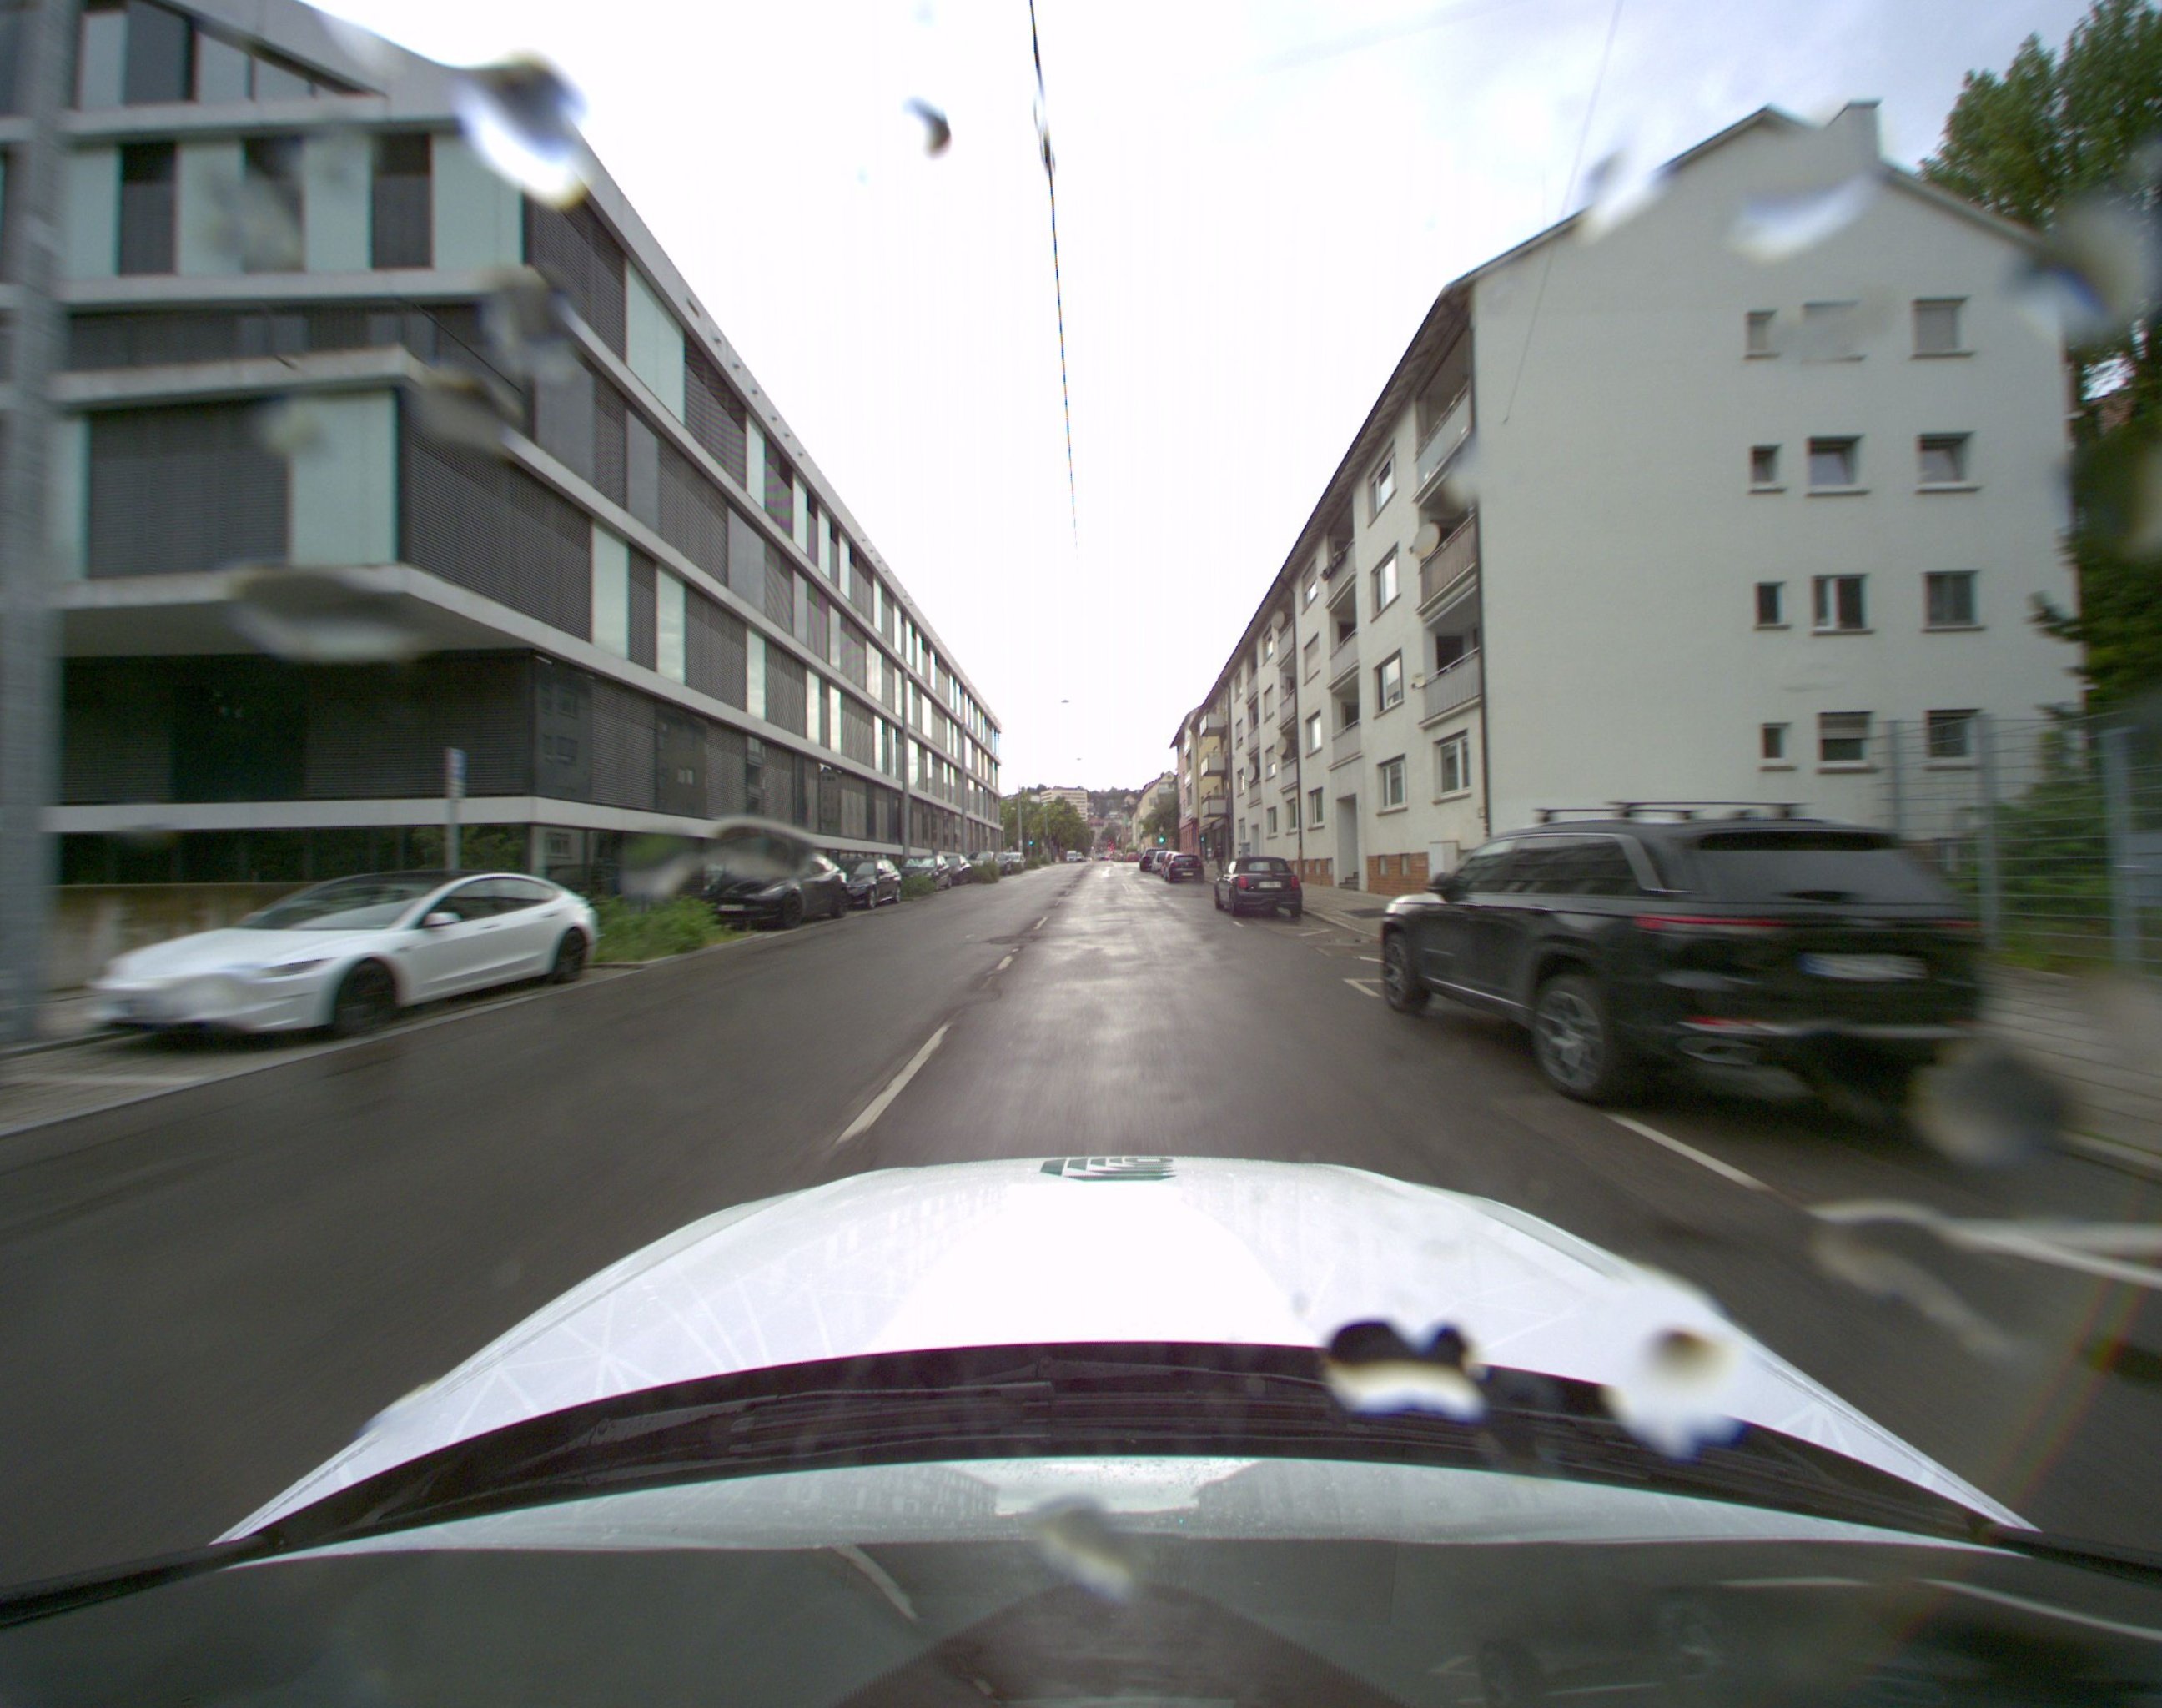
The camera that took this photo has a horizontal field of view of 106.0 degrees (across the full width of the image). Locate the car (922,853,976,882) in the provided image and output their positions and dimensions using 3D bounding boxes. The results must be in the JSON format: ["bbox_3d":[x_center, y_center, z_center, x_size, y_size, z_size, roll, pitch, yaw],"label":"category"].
[{"bbox_3d":[-6.472,0.648,40.439,1.830,1.396,4.394,0,0,2],"label":"car"}]

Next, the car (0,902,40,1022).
[{"bbox_3d":[-22.251,2.005,14.499,4.582,2.174,1.928,0,-1,-5],"label":"car"}]

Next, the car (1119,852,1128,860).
[{"bbox_3d":[8.751,0.452,167.802,1.858,1.604,4.194,0,-1,4],"label":"car"}]

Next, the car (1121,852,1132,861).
[{"bbox_3d":[8.308,0.534,148.438,1.858,1.604,4.194,0,-1,4],"label":"car"}]

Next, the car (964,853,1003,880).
[{"bbox_3d":[-5.959,0.727,50.037,1.765,1.534,4.318,0,0,1],"label":"car"}]

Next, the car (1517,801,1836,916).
[{"bbox_3d":[10.804,0.091,15.042,4.423,1.712,1.905,-4,-1,0],"label":"car"}]

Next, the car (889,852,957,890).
[{"bbox_3d":[-6.513,0.678,34.090,1.856,1.489,4.348,0,0,2],"label":"car"}]

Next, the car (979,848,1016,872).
[{"bbox_3d":[-5.705,0.422,56.122,1.793,1.604,4.239,0,-1,4],"label":"car"}]

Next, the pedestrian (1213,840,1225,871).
[{"bbox_3d":[8.390,0.095,49.471,0.636,1.870,0.539,0,-1,3],"label":"pedestrian"}]

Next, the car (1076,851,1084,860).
[{"bbox_3d":[-0.283,0.455,207.768,1.862,2.141,4.355,0,-1,-2],"label":"car"}]

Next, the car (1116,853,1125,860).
[{"bbox_3d":[8.884,0.524,183.166,1.858,1.604,4.194,0,-1,4],"label":"car"}]

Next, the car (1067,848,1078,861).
[{"bbox_3d":[-1.744,0.124,168.916,2.099,2.546,4.749,0,-1,-1],"label":"car"}]

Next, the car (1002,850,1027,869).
[{"bbox_3d":[-5.490,0.441,67.365,1.588,1.459,3.722,0,0,3],"label":"car"}]

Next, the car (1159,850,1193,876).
[{"bbox_3d":[5.362,0.491,46.216,1.577,1.413,3.655,0,0,1],"label":"car"}]

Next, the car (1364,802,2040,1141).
[{"bbox_3d":[4.038,0.618,6.611,1.928,1.750,4.798,0,0,1],"label":"car"}]

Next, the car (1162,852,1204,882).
[{"bbox_3d":[5.063,0.634,40.909,1.700,1.454,3.985,0,0,1],"label":"car"}]

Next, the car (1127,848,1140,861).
[{"bbox_3d":[7.307,0.109,113.104,1.858,1.770,4.194,0,-1,4],"label":"car"}]

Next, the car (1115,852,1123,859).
[{"bbox_3d":[9.499,0.397,202.191,1.858,1.604,4.194,0,-1,4],"label":"car"}]

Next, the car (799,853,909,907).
[{"bbox_3d":[-6.730,0.732,24.742,1.864,1.473,4.742,0,0,2],"label":"car"}]

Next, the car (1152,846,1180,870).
[{"bbox_3d":[5.693,0.296,54.819,1.629,1.571,3.712,0,0,1],"label":"car"}]

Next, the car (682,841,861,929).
[{"bbox_3d":[-6.876,0.637,18.794,1.954,1.750,4.947,0,0,4],"label":"car"}]

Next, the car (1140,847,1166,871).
[{"bbox_3d":[5.407,0.357,61.538,1.649,1.738,4.181,0,0,1],"label":"car"}]

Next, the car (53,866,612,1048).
[{"bbox_3d":[-7.280,0.854,8.739,1.814,1.419,4.404,0,0,2],"label":"car"}]

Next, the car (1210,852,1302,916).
[{"bbox_3d":[4.457,0.708,21.273,1.667,1.459,3.765,0,1,1],"label":"car"}]

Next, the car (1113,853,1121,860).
[{"bbox_3d":[8.462,0.594,191.348,1.858,1.604,4.194,0,-1,4],"label":"car"}]
